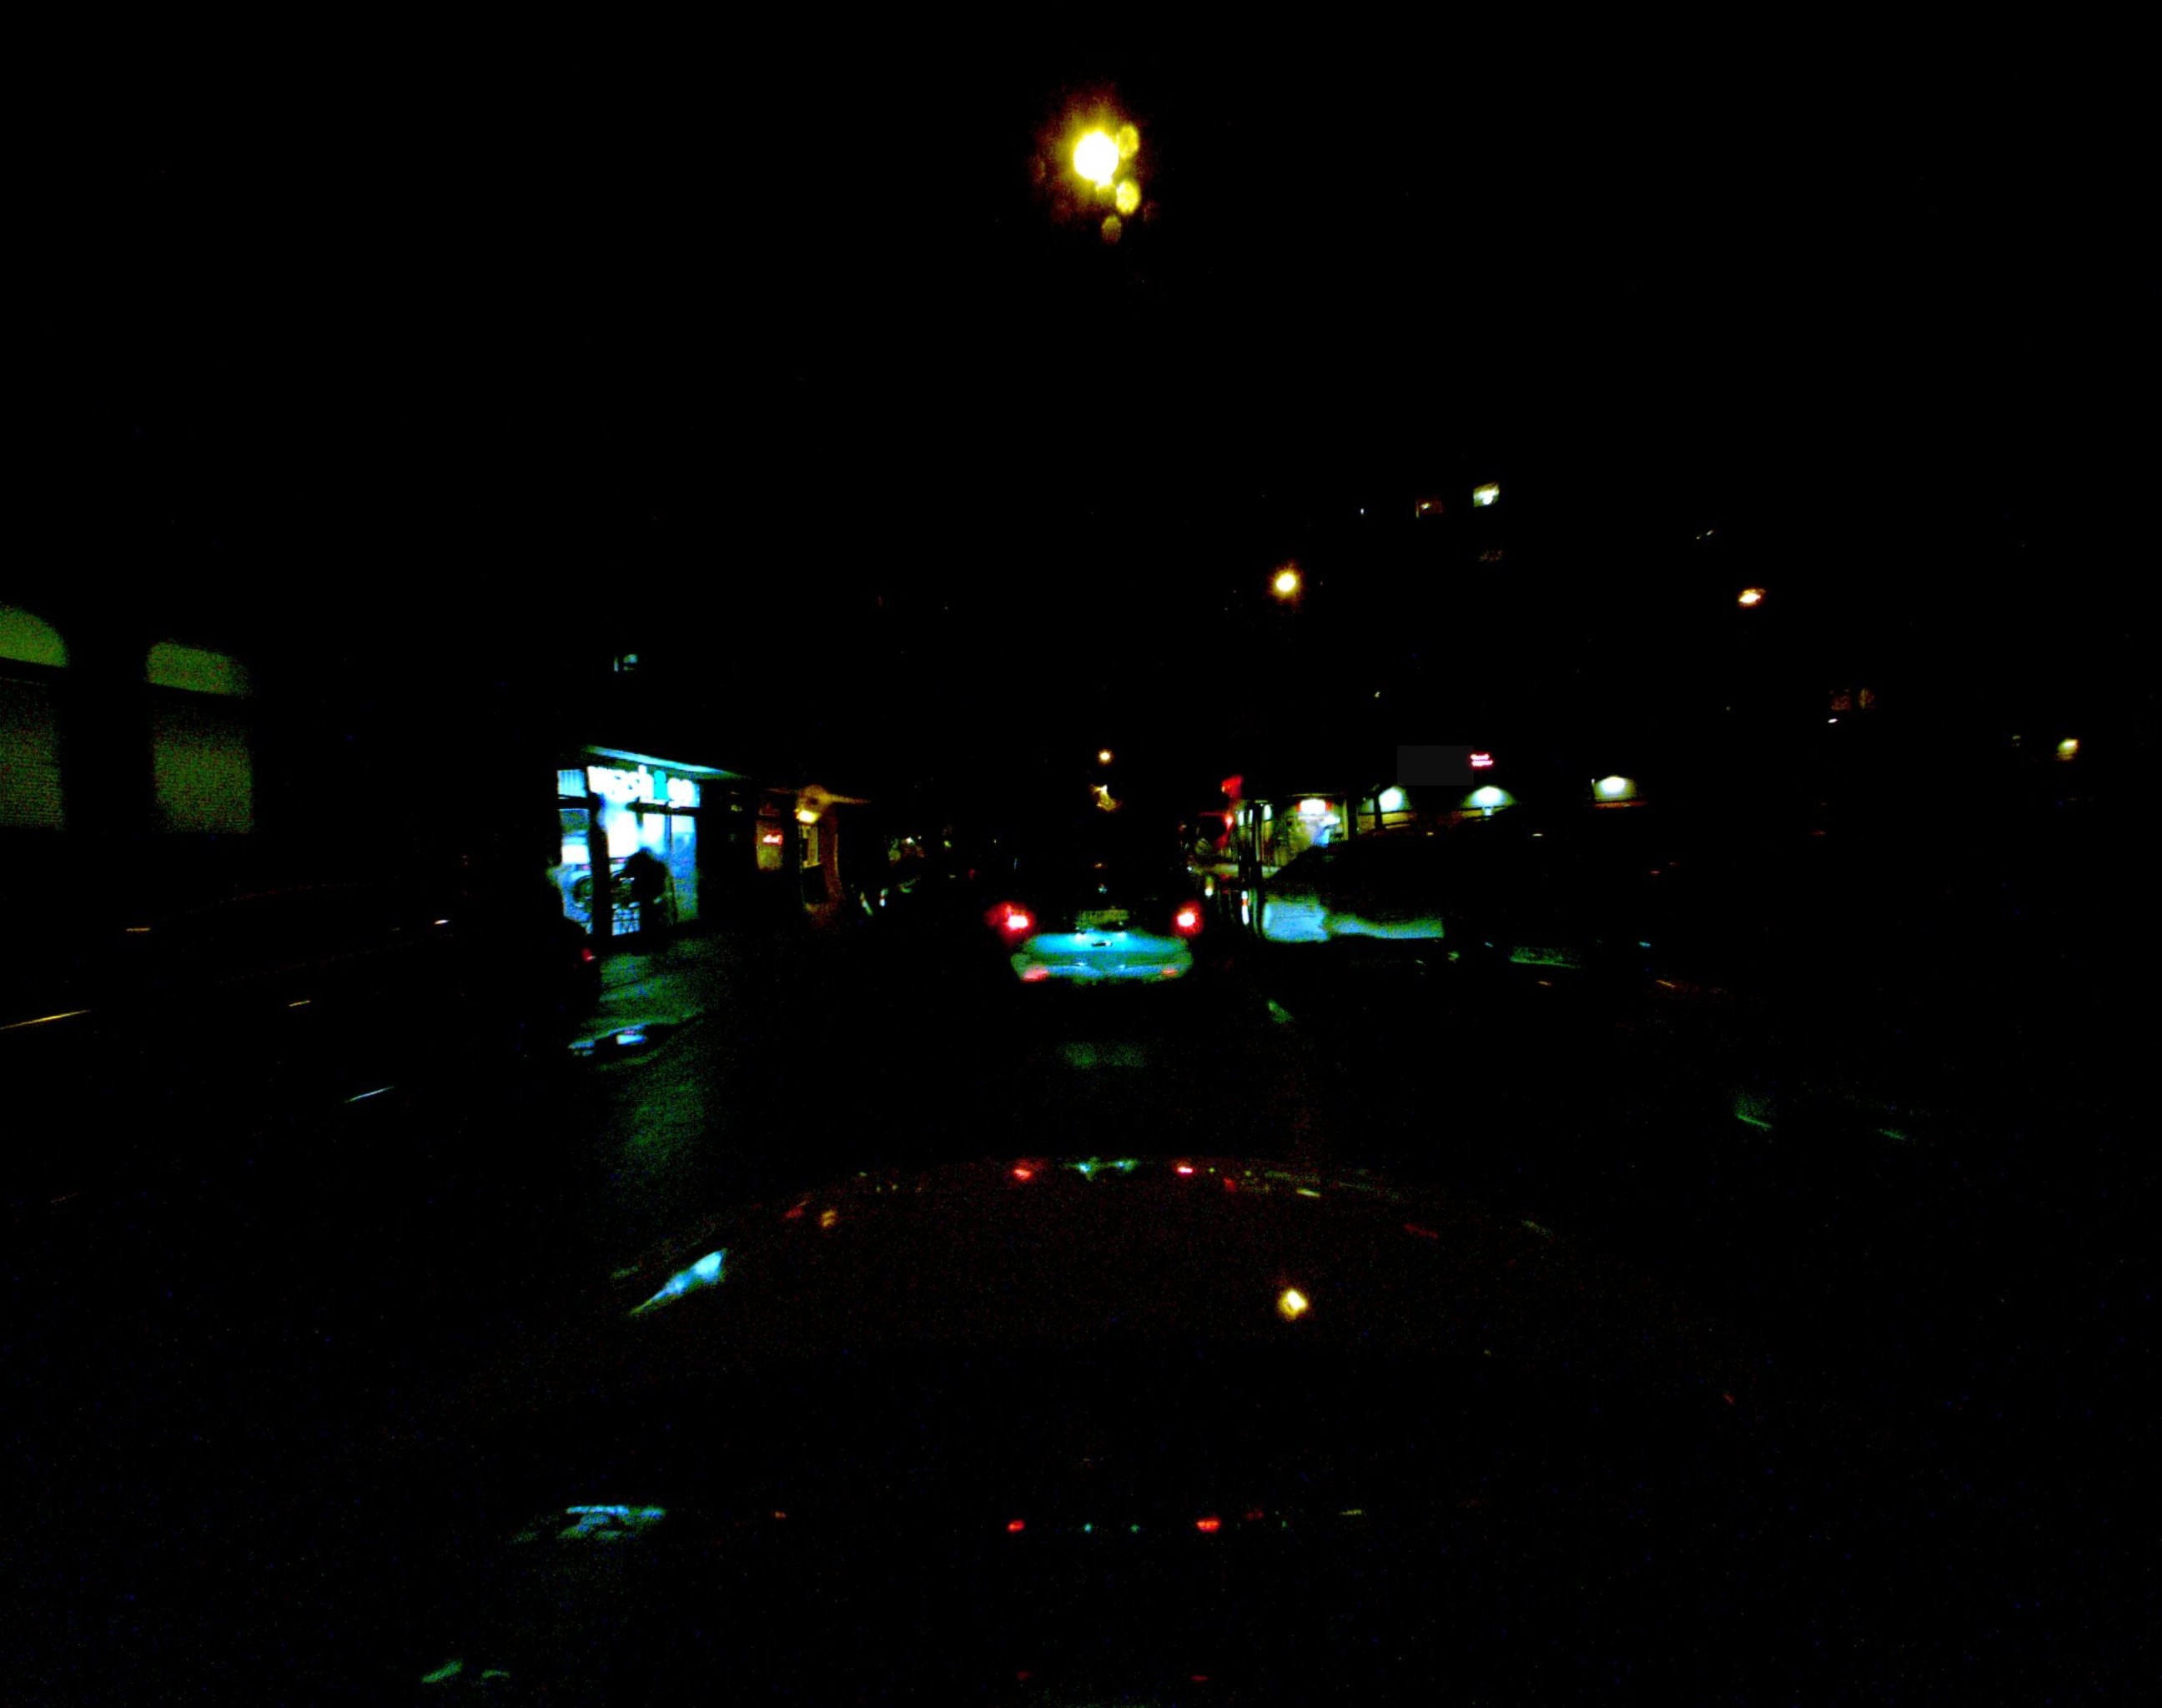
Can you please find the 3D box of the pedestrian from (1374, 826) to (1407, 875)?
[{"bbox_3d":[12.051,-0.146,31.707,0.867,1.833,0.990,-2,0,38],"label":"pedestrian"}]

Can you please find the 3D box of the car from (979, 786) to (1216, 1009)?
[{"bbox_3d":[0.243,0.389,9.787,2.114,1.991,4.603,-2,0,2],"label":"car"}]

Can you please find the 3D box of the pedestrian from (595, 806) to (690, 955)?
[{"bbox_3d":[-6.994,0.403,13.048,0.796,2.241,1.116,-2,0,1],"label":"pedestrian"}]

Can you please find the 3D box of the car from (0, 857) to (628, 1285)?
[{"bbox_3d":[-4.719,0.811,4.113,1.839,1.478,5.034,-2,0,2],"label":"car"}]

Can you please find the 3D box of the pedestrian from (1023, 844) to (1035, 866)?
[{"bbox_3d":[-4.129,0.087,64.909,0.799,1.766,1.018,-1,0,8],"label":"pedestrian"}]

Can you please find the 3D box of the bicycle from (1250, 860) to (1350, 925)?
[{"bbox_3d":[3.668,0.639,13.751,0.338,1.026,1.626,-4,1,-45],"label":"bicycle"}]

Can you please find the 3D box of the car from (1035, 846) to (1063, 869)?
[{"bbox_3d":[-2.113,0.218,54.857,1.580,1.463,4.026,1,1,2],"label":"car"}]

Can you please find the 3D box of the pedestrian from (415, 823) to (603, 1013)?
[{"bbox_3d":[-6.162,0.639,8.886,0.952,1.863,1.415,-2,0,1],"label":"pedestrian"}]

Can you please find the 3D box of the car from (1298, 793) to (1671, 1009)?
[{"bbox_3d":[4.284,0.342,8.522,3.755,1.712,1.753,-4,0,-33],"label":"car"}]

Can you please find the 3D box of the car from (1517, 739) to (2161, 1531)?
[{"bbox_3d":[3.782,0.443,2.918,4.081,1.597,1.818,-4,0,-26],"label":"car"}]

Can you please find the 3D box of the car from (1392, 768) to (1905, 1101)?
[{"bbox_3d":[4.285,0.337,6.010,3.808,1.712,1.730,-4,0,-33],"label":"car"}]

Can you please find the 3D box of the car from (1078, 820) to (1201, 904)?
[{"bbox_3d":[1.682,0.160,21.230,2.106,1.922,4.848,-1,0,17],"label":"car"}]

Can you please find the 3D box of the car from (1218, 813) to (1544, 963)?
[{"bbox_3d":[4.219,0.370,11.353,4.273,1.573,1.756,-4,0,-27],"label":"car"}]
